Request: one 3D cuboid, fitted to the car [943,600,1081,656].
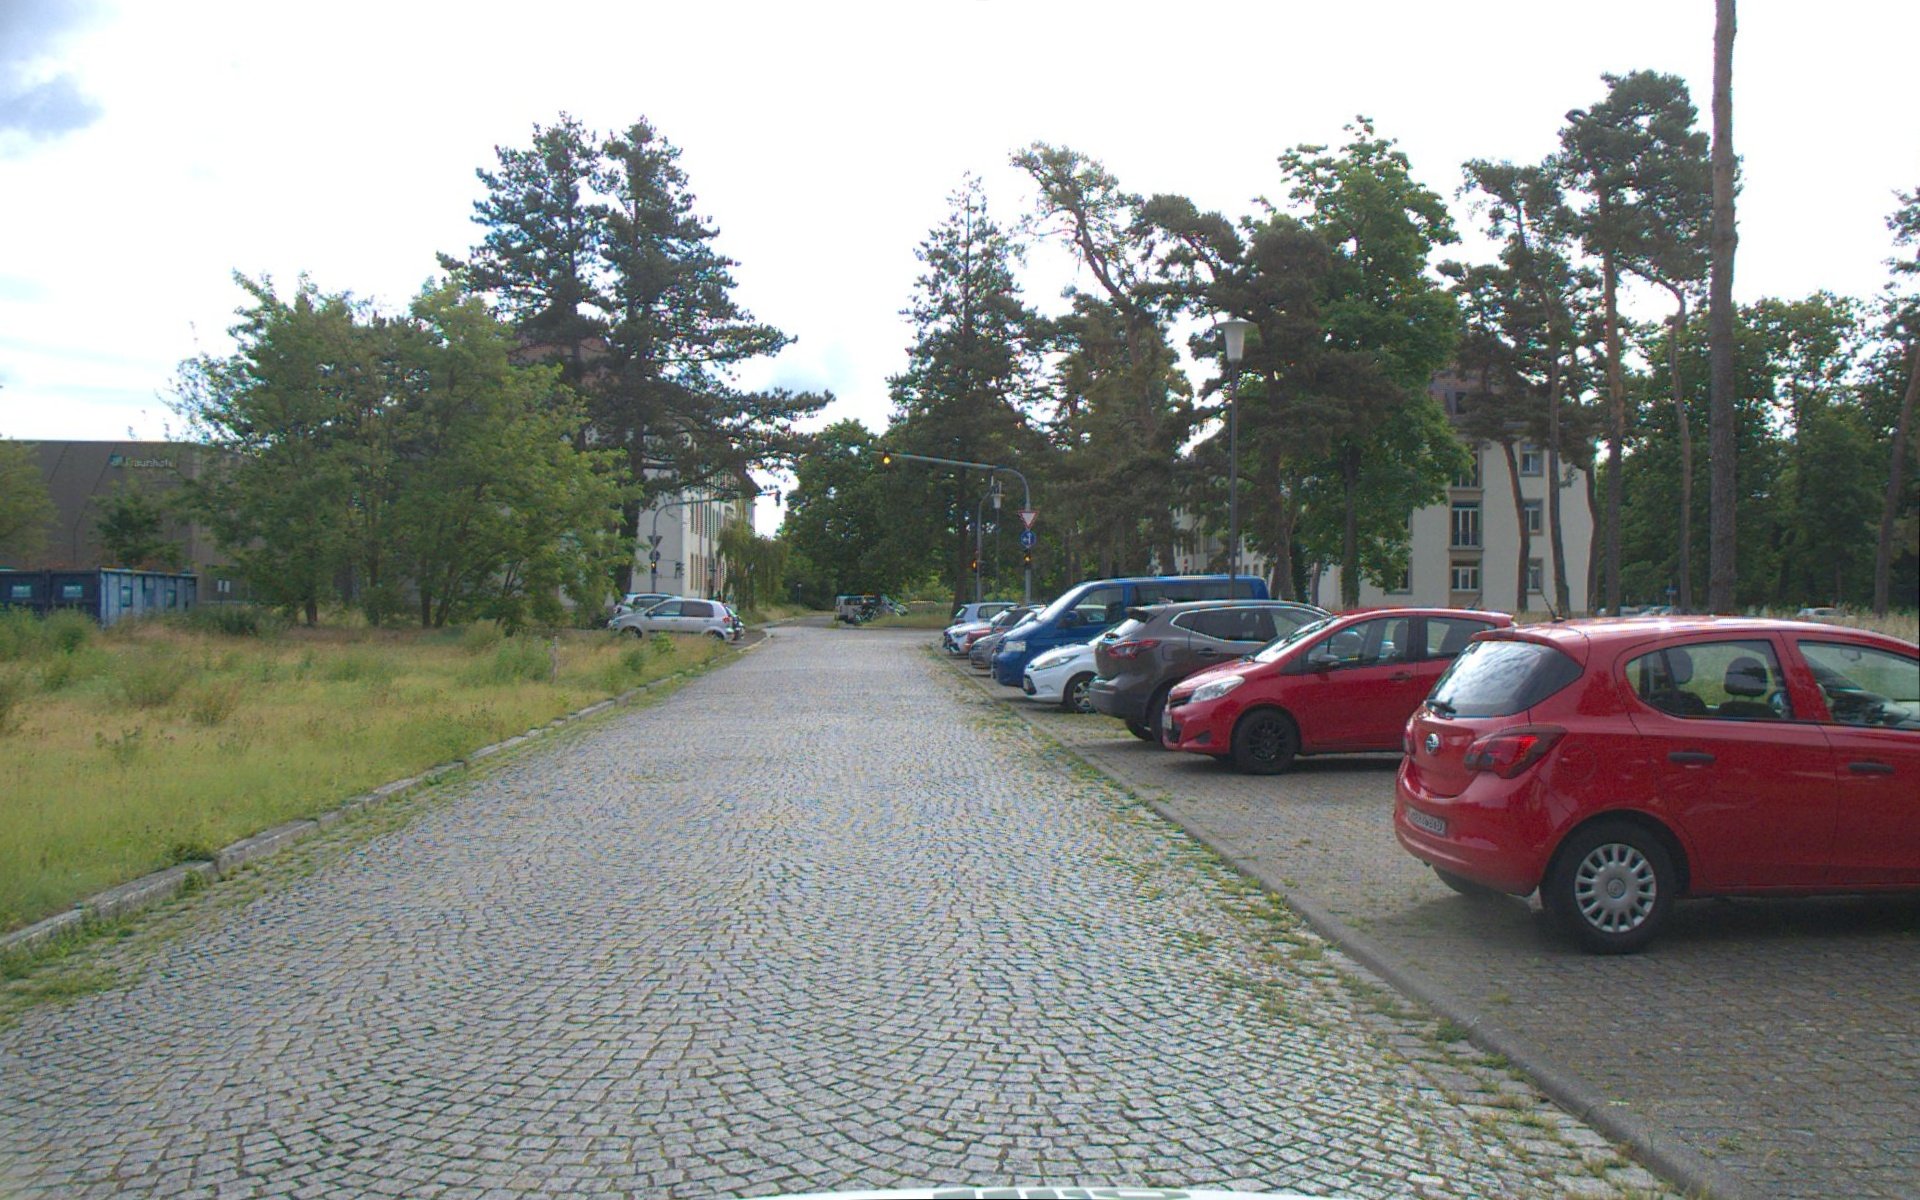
[{"bbox_3d":[1.428,0.765,45.726,3.603,1.446,1.521,-1,0,-8],"label":"car"}]

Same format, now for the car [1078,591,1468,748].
[{"bbox_3d":[3.437,0.738,18.561,3.951,1.580,1.748,-1,0,-6],"label":"car"}]

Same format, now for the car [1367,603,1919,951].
[{"bbox_3d":[4.182,0.778,8.355,3.751,1.486,1.777,-1,0,-5],"label":"car"}]

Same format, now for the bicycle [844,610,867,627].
[{"bbox_3d":[-6.034,1.083,95.653,0.614,0.961,1.645,1,0,-31],"label":"bicycle"}]

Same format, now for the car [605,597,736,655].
[{"bbox_3d":[-8.615,0.767,49.469,3.749,1.600,1.562,-1,0,-7],"label":"car"}]

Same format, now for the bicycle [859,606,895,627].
[{"bbox_3d":[-5.015,1.015,99.801,2.097,1.236,0.621,1,-1,-8],"label":"bicycle"}]

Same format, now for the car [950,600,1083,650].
[{"bbox_3d":[1.719,0.765,51.261,3.894,1.446,1.617,-1,0,-8],"label":"car"}]

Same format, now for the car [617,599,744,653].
[{"bbox_3d":[-8.728,0.811,51.882,3.746,1.600,1.563,-1,0,-5],"label":"car"}]

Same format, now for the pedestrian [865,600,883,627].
[{"bbox_3d":[-5.231,0.811,100.130,1.014,1.642,0.756,1,-1,-8],"label":"pedestrian"}]

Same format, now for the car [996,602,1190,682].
[{"bbox_3d":[2.606,0.808,32.775,3.601,1.475,1.522,-1,0,-6],"label":"car"}]

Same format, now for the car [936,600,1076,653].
[{"bbox_3d":[1.329,0.776,48.579,3.894,1.446,1.617,-1,0,-8],"label":"car"}]

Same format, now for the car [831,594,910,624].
[{"bbox_3d":[-6.380,0.629,117.648,5.351,2.049,2.261,1,0,-13],"label":"car"}]

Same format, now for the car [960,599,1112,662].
[{"bbox_3d":[1.867,0.753,41.211,3.601,1.475,1.522,-1,0,-6],"label":"car"}]

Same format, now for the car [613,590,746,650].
[{"bbox_3d":[-9.260,0.651,54.839,4.178,1.873,1.742,-1,0,-5],"label":"car"}]

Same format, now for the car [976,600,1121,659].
[{"bbox_3d":[2.298,0.765,43.530,3.601,1.475,1.522,-1,0,-6],"label":"car"}]

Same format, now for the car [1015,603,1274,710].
[{"bbox_3d":[2.734,0.817,24.899,3.601,1.475,1.612,-1,0,-6],"label":"car"}]

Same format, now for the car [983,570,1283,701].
[{"bbox_3d":[2.808,0.567,27.503,4.662,1.989,1.929,-1,0,-6],"label":"car"}]

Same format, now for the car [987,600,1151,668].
[{"bbox_3d":[2.509,0.771,38.545,3.601,1.475,1.522,-1,0,-6],"label":"car"}]

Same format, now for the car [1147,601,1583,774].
[{"bbox_3d":[3.803,0.794,15.931,3.717,1.486,1.750,-1,0,-4],"label":"car"}]

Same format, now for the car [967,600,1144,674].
[{"bbox_3d":[2.014,0.779,35.518,3.601,1.475,1.522,-1,0,-6],"label":"car"}]
